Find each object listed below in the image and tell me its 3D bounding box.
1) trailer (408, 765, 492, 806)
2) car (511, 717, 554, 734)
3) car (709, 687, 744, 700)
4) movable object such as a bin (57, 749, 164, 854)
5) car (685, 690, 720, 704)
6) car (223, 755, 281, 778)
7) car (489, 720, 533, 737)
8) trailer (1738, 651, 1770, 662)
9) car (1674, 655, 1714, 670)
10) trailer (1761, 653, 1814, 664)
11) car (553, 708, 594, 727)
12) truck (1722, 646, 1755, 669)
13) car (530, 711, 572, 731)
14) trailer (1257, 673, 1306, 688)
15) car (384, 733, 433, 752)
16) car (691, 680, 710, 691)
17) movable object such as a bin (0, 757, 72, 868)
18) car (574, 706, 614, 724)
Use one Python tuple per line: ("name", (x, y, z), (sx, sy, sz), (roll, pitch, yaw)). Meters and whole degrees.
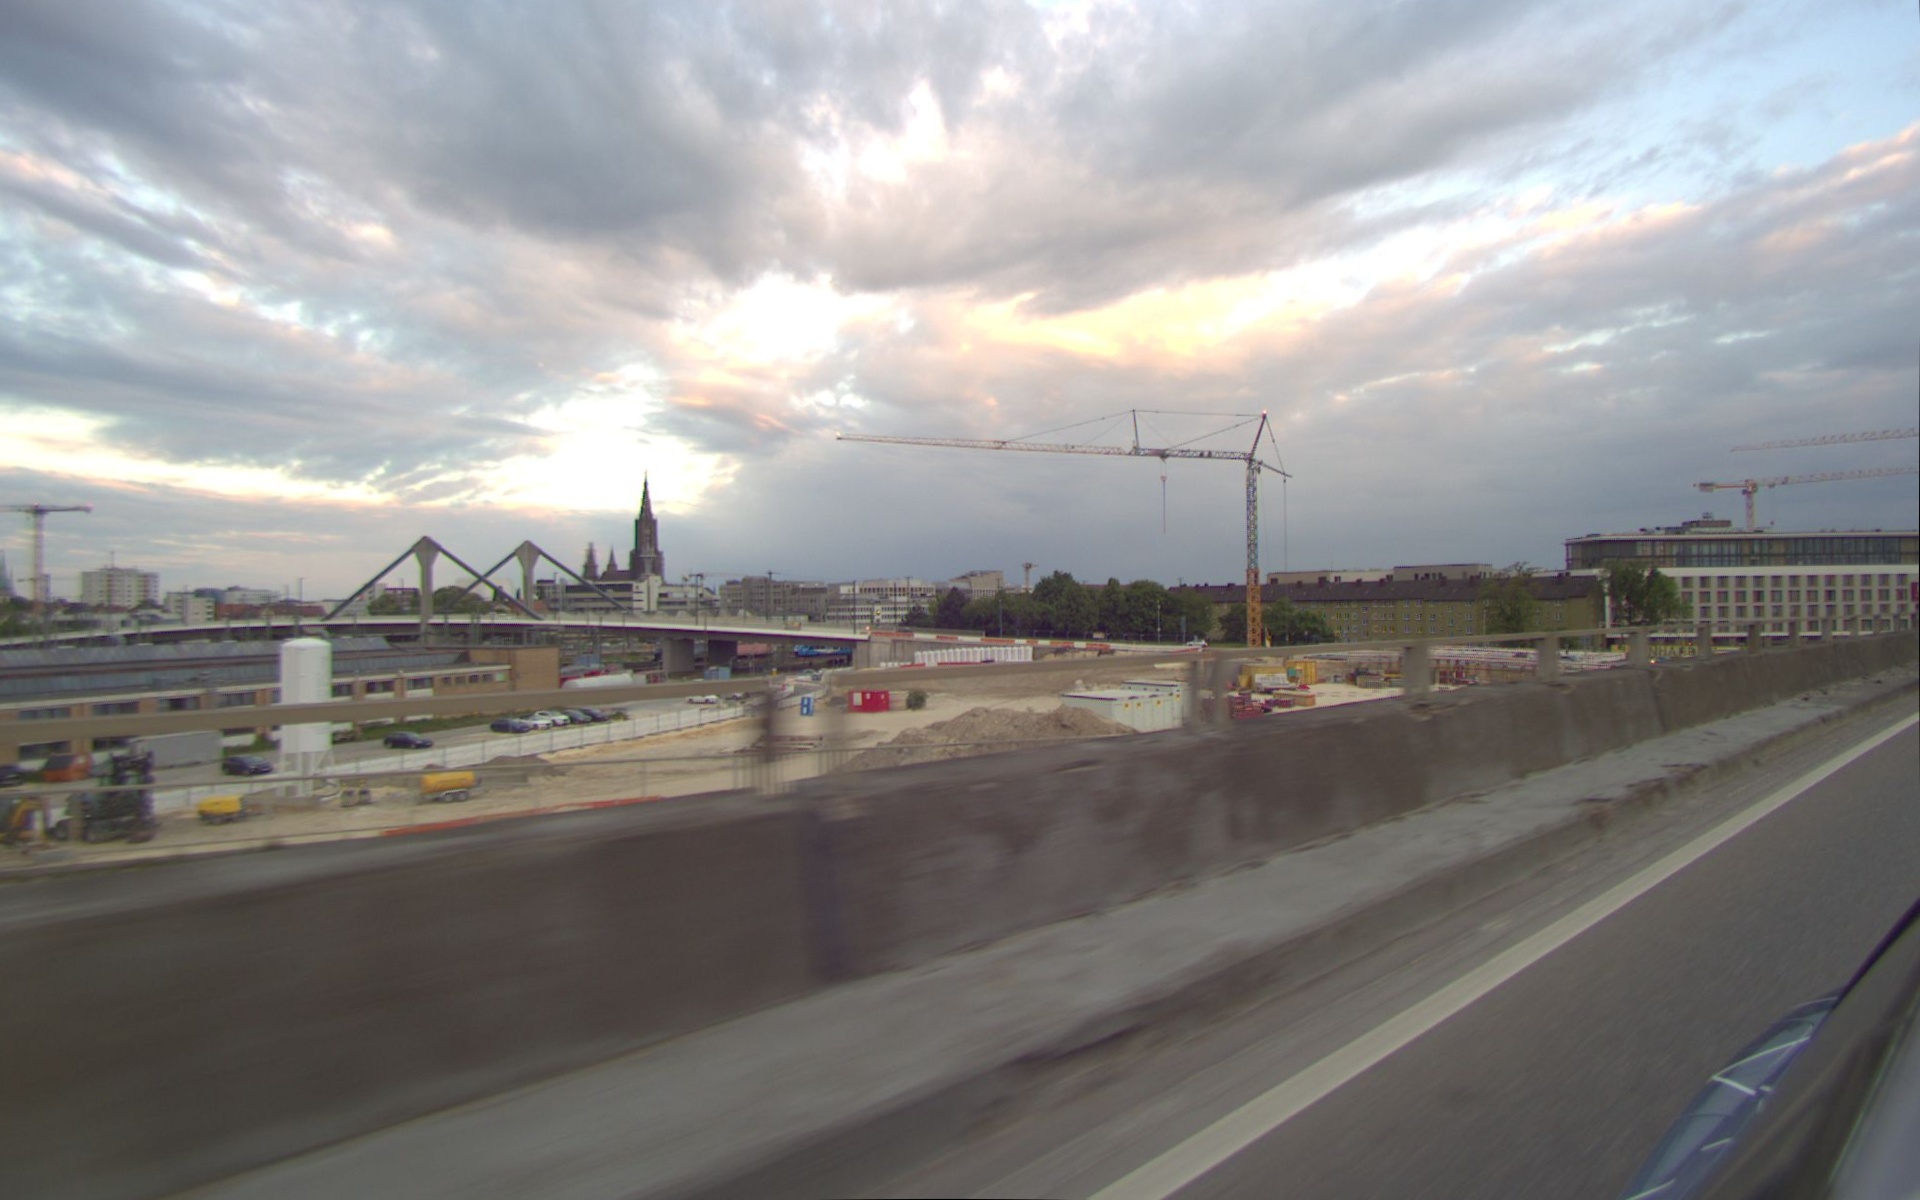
("trailer", (-28.601, 10.373, 56.819), (1.992, 1.828, 3.782), (-9, -7, 43))
("car", (-45.067, 13.262, 106.748), (3.948, 1.439, 1.858), (-6, -6, 19))
("car", (-32.377, 12.959, 140.225), (4.282, 1.540, 1.862), (-3, -1, 15))
("movable object such as a bin", (-40.113, 9.422, 47.779), (4.924, 4.368, 2.747), (-8, -7, 36))
("car", (-34.425, 12.990, 135.341), (4.282, 1.540, 1.862), (-3, -1, 15))
("car", (-55.937, 13.131, 79.999), (3.948, 1.439, 1.858), (-6, -6, 19))
("car", (-46.172, 13.239, 104.111), (3.948, 1.439, 1.858), (-6, -6, 19))
("trailer", (114.574, 8.095, 146.000), (5.762, 1.366, 1.998), (1, -7, -36))
("car", (94.265, 8.056, 129.946), (1.611, 1.761, 3.800), (-1, -2, -23))
("trailer", (120.433, 8.463, 147.349), (5.835, 1.365, 2.001), (0, 0, 36))
("car", (-42.706, 12.966, 111.701), (3.948, 1.674, 1.858), (-6, -6, 19))
("truck", (108.852, 8.028, 141.497), (7.209, 2.987, 2.160), (1, -4, -42))
("car", (-44.168, 13.066, 109.318), (3.948, 1.738, 1.858), (-6, -6, 19))
("trailer", (31.528, 7.864, 99.265), (4.164, 1.257, 1.787), (-1, -2, -11))
("car", (-50.693, 13.116, 93.017), (3.948, 1.439, 1.858), (-6, -6, 19))
("car", (-40.571, 13.351, 158.254), (1.415, 1.597, 3.672), (-5, -6, 9))
("movable object such as a bin", (-41.332, 9.223, 44.253), (4.924, 4.368, 2.747), (-8, -7, 36))
("car", (-41.316, 12.941, 114.244), (3.948, 1.674, 1.858), (-6, -6, 19))
